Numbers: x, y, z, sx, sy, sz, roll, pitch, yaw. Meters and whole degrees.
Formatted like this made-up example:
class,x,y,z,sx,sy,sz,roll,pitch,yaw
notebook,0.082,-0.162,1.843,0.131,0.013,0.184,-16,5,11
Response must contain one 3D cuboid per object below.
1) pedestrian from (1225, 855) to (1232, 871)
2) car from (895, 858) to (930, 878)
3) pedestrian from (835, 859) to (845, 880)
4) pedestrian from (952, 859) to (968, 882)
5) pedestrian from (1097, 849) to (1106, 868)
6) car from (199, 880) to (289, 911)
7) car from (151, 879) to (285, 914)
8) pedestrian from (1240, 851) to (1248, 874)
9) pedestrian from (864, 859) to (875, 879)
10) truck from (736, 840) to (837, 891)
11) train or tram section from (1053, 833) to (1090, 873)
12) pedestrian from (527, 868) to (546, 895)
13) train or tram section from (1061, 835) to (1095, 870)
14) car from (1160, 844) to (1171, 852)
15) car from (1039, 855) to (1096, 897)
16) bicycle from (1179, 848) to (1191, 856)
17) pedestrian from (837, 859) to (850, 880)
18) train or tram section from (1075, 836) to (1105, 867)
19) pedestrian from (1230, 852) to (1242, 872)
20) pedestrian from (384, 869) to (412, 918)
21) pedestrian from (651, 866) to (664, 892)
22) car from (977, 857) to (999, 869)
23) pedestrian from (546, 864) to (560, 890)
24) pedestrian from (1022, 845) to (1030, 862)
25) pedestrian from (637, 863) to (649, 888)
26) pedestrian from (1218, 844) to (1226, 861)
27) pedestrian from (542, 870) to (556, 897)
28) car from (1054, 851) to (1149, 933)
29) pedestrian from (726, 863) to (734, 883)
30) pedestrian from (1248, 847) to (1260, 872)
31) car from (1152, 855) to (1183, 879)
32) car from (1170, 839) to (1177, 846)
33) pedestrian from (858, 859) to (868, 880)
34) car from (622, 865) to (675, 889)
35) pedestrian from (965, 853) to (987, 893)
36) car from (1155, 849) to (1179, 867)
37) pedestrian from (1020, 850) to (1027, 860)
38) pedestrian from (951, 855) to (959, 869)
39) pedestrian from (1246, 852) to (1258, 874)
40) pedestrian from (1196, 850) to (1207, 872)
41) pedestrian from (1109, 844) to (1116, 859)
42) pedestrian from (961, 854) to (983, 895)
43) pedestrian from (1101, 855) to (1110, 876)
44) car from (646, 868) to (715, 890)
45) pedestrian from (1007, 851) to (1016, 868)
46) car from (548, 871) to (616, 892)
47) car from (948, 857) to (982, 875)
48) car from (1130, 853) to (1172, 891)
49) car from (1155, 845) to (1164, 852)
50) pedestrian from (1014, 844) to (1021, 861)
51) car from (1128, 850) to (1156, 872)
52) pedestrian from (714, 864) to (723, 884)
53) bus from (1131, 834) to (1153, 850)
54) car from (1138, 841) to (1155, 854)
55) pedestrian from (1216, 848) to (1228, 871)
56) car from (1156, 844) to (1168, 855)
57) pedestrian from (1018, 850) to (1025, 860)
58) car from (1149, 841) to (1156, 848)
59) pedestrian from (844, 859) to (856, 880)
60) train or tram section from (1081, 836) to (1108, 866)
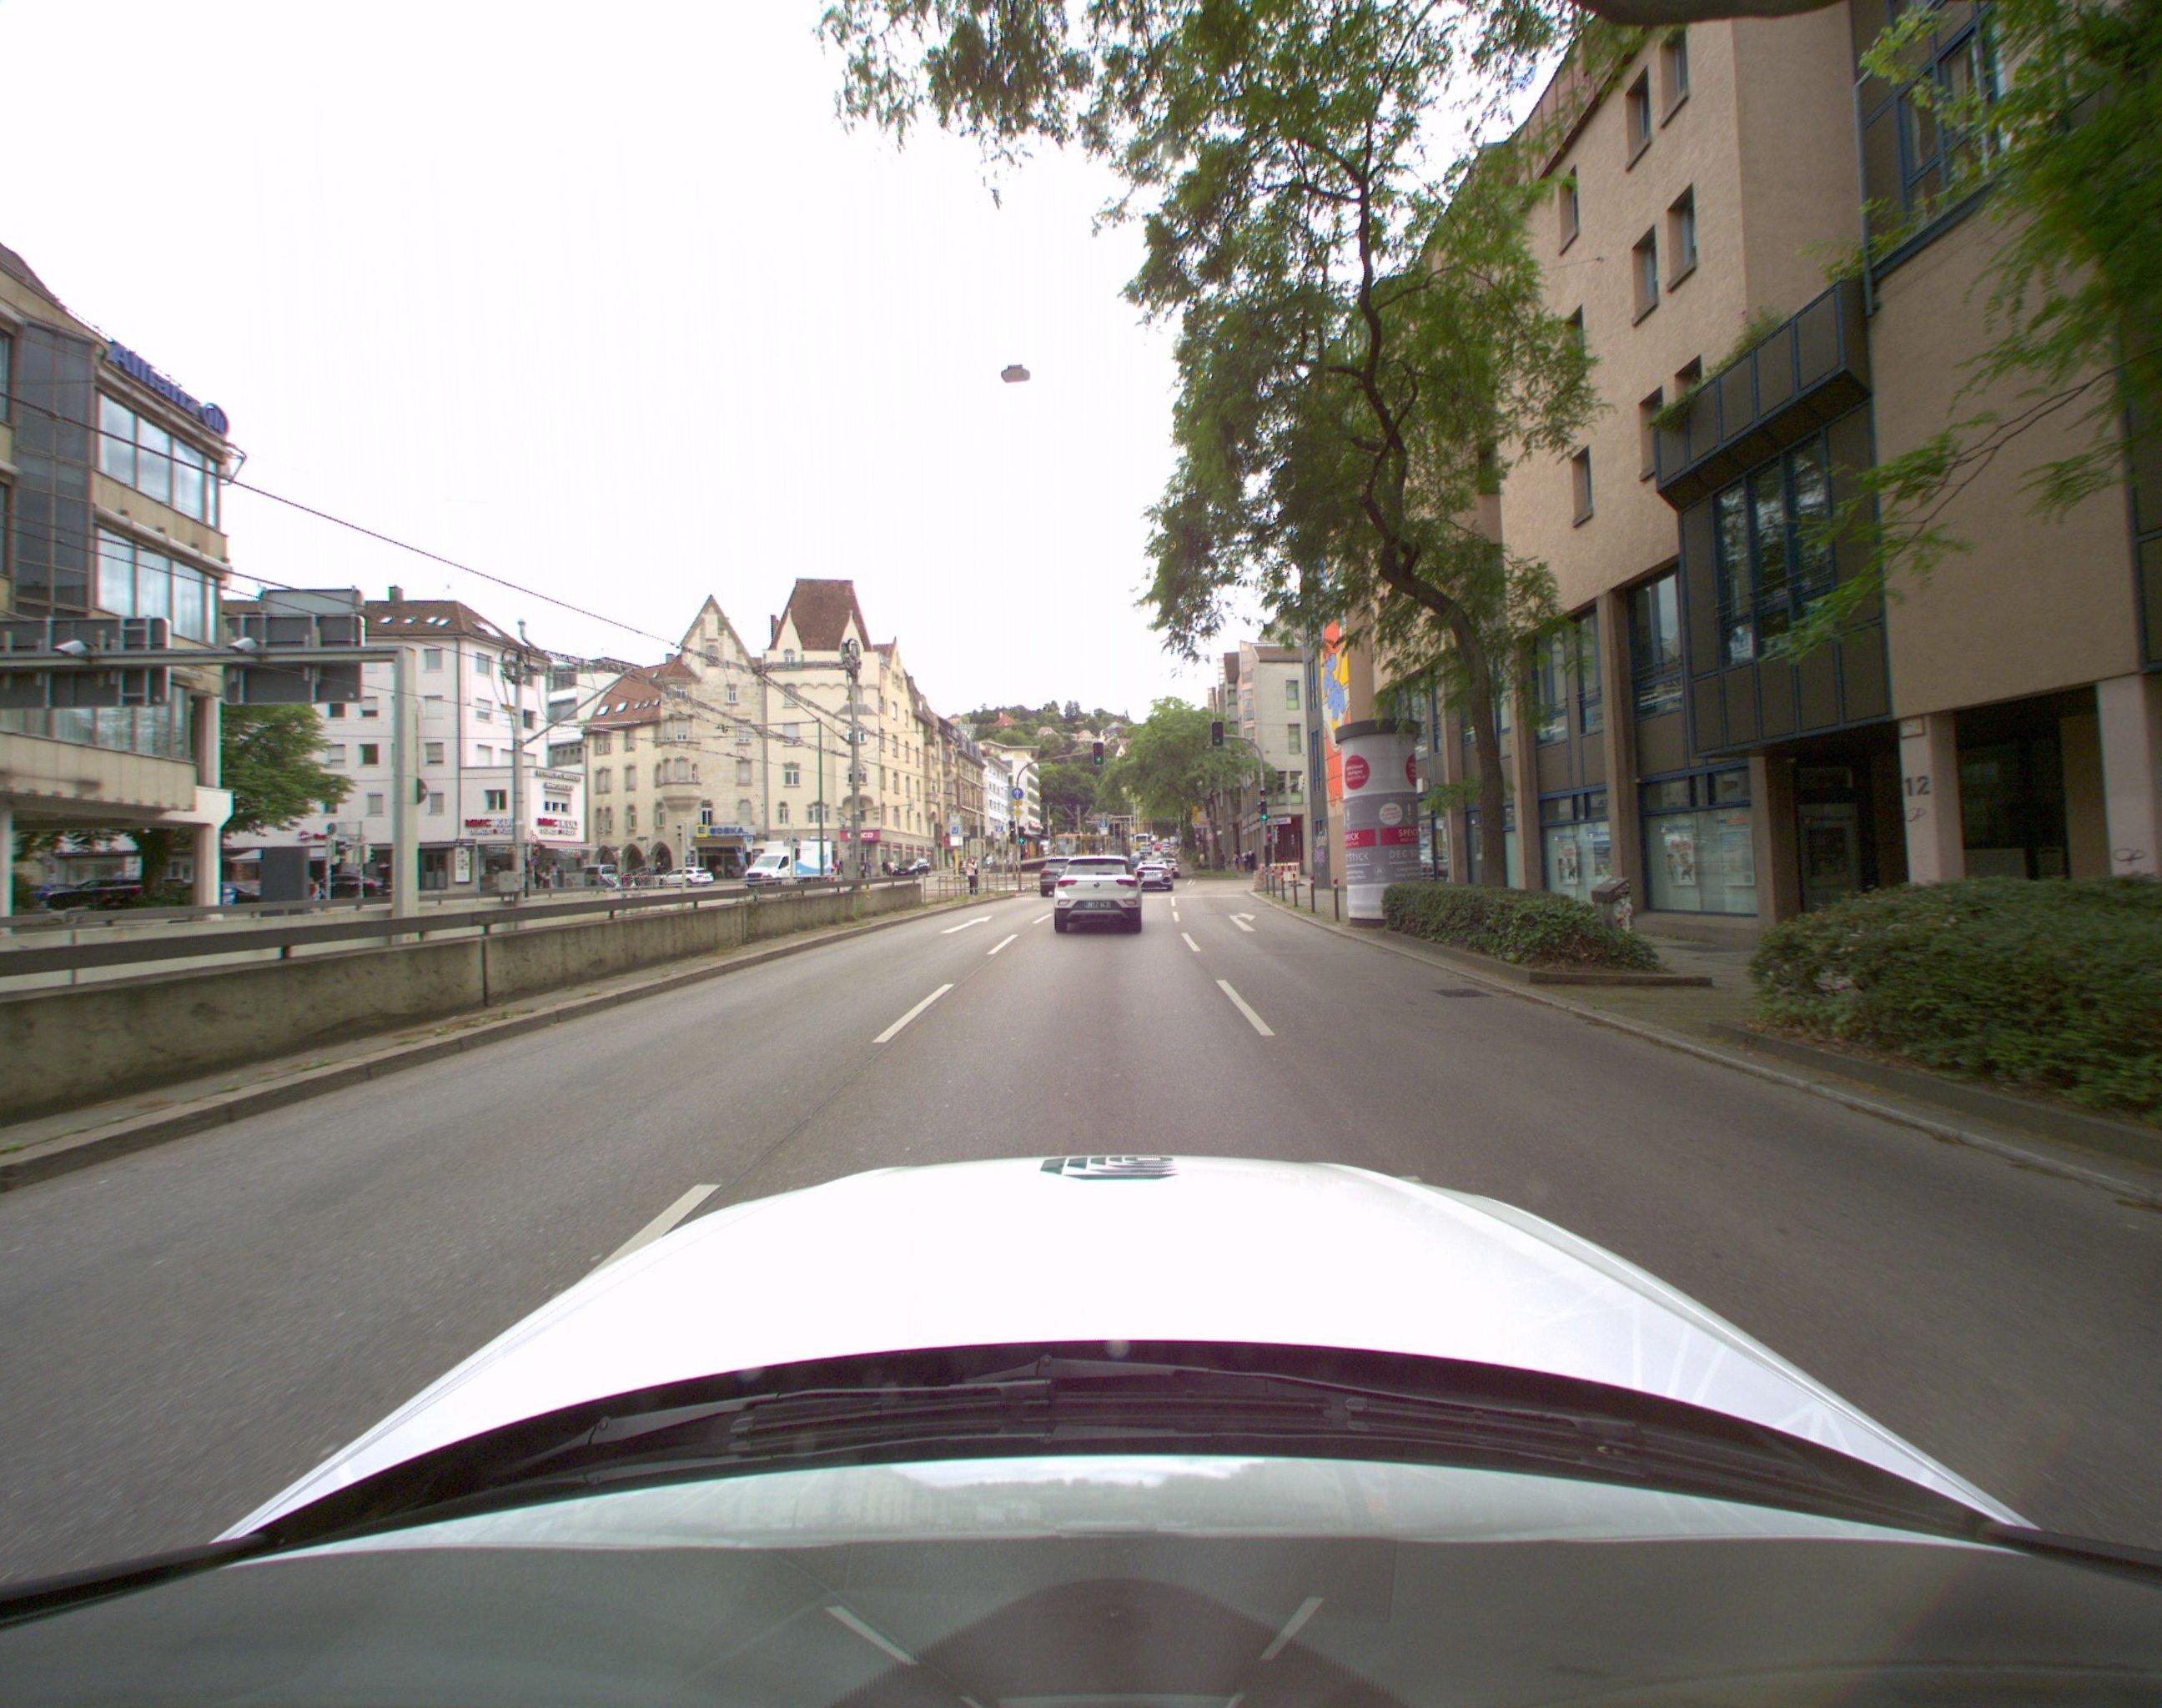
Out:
class,x,y,z,sx,sy,sz,roll,pitch,yaw
pedestrian,11.974,0.733,66.211,0.469,1.333,0.520,0,-1,2
car,-14.930,1.239,72.359,1.665,1.759,4.790,0,-1,6
pedestrian,-20.457,1.311,69.121,0.507,1.780,0.578,-1,-1,8
pedestrian,-9.211,1.284,62.173,0.866,1.705,0.817,-2,-1,35
pedestrian,1.826,0.406,72.762,0.682,1.711,0.713,-1,0,5
car,-50.279,2.472,48.982,3.626,1.711,1.650,-1,0,0
car,-41.385,2.010,39.152,3.987,1.530,1.944,0,-1,-10
pedestrian,12.991,0.671,64.927,0.516,1.789,0.765,0,-1,2
pedestrian,-18.283,1.313,70.399,0.667,1.677,0.695,-2,-1,23
truck,-18.926,0.745,52.873,2.250,3.076,7.404,-1,-1,15
train or tram section,-0.878,-0.132,77.740,2.820,3.678,5.762,0,0,6
pedestrian,-35.784,1.817,53.512,0.777,1.705,0.655,-1,-1,11
train or tram section,-0.232,-0.160,83.482,2.820,3.521,5.762,0,0,6
car,18.278,-1.243,176.324,1.872,1.684,4.175,-1,-1,12
car,-0.510,0.896,34.690,1.984,1.636,4.006,-1,0,5
bicycle,16.293,-0.321,127.713,1.868,1.137,0.811,-1,-1,11
pedestrian,-20.397,1.311,69.877,0.780,1.780,0.672,-2,-1,36
train or tram section,1.095,-0.316,94.965,2.820,3.521,5.762,0,0,6
pedestrian,12.366,0.628,65.071,0.832,1.563,0.765,0,-1,1
pedestrian,-25.319,1.442,30.173,0.507,1.780,0.578,-1,-1,8
pedestrian,-29.458,1.738,56.585,0.506,1.780,0.579,-2,-1,18
car,-11.677,1.139,102.420,1.621,1.375,3.794,-3,-1,10
pedestrian,-36.302,1.557,55.973,0.506,1.780,0.601,-2,-1,18
pedestrian,-5.738,-0.082,84.792,0.623,1.762,0.848,-1,-1,7
pedestrian,-30.873,1.523,57.450,0.569,1.780,0.515,-2,-1,32
pedestrian,15.966,-0.176,92.319,0.759,1.782,0.848,-3,2,1
pedestrian,-35.342,1.973,54.073,0.506,1.780,0.579,-2,-1,18
car,0.386,0.758,17.858,1.832,1.584,4.155,0,-1,-1
pedestrian,-31.641,1.676,73.410,0.575,1.780,0.510,-1,-1,-8
pedestrian,13.896,0.447,65.443,0.832,2.014,0.765,0,-1,1
car,6.380,0.939,60.485,1.879,1.684,4.159,0,-1,-1
car,21.884,-2.834,193.485,1.665,1.561,3.684,0,-1,6
pedestrian,-18.344,1.310,68.611,0.505,1.780,0.580,-2,-1,20
car,-35.372,1.872,66.605,3.739,1.684,1.645,-3,-1,20
pedestrian,-4.617,0.848,35.794,0.788,1.721,0.774,-1,-1,5
car,10.124,0.501,95.975,2.356,2.014,5.149,0,-1,1
pedestrian,-6.236,0.103,88.860,0.632,1.107,0.691,-1,0,5
pedestrian,-15.485,0.958,100.402,0.632,1.762,0.837,-1,-1,-37
pedestrian,13.280,0.720,63.184,0.756,1.612,0.621,-3,2,17
pedestrian,10.157,0.569,68.564,0.690,1.777,0.690,-6,-1,1
pedestrian,3.680,-0.279,94.139,0.714,1.731,0.672,0,-1,7
pedestrian,-4.696,0.873,35.036,0.761,1.721,0.638,-1,-1,5
pedestrian,2.044,0.977,68.087,0.632,1.711,0.873,-1,0,6
car,-30.358,1.881,61.788,4.470,1.561,1.760,0,-1,11
pedestrian,-6.866,0.529,80.505,0.684,1.711,0.663,-1,0,5
car,-37.983,2.066,62.050,4.466,1.561,1.761,-1,-1,14
car,-10.857,1.098,76.557,1.646,1.552,4.549,-1,0,11
car,3.356,0.822,38.511,1.875,1.684,4.168,0,-1,6
car,15.170,-1.095,157.406,1.574,1.172,3.684,0,-1,6
pedestrian,-6.590,-0.138,84.368,0.634,1.711,0.689,-1,0,-3
car,5.965,0.696,79.054,2.352,2.014,5.159,0,-1,8
pedestrian,-32.585,1.797,73.221,0.580,1.780,0.505,-1,-1,-44
bus,12.649,-2.410,166.979,3.352,3.065,13.359,0,-1,9
car,10.502,-0.961,130.671,2.351,2.014,5.161,0,-1,9
pedestrian,11.626,0.477,67.165,0.718,1.802,0.835,-4,2,2
car,12.810,-0.696,128.352,1.875,1.684,4.168,0,-1,6
pedestrian,-6.424,0.129,87.551,0.632,1.107,0.691,-1,0,5
car,17.870,-2.382,202.273,1.665,1.561,3.993,0,-1,6
pedestrian,-19.327,1.295,68.132,0.703,1.780,0.599,-2,-1,22
train or tram section,1.748,-0.369,100.699,2.820,3.521,5.762,0,0,6
